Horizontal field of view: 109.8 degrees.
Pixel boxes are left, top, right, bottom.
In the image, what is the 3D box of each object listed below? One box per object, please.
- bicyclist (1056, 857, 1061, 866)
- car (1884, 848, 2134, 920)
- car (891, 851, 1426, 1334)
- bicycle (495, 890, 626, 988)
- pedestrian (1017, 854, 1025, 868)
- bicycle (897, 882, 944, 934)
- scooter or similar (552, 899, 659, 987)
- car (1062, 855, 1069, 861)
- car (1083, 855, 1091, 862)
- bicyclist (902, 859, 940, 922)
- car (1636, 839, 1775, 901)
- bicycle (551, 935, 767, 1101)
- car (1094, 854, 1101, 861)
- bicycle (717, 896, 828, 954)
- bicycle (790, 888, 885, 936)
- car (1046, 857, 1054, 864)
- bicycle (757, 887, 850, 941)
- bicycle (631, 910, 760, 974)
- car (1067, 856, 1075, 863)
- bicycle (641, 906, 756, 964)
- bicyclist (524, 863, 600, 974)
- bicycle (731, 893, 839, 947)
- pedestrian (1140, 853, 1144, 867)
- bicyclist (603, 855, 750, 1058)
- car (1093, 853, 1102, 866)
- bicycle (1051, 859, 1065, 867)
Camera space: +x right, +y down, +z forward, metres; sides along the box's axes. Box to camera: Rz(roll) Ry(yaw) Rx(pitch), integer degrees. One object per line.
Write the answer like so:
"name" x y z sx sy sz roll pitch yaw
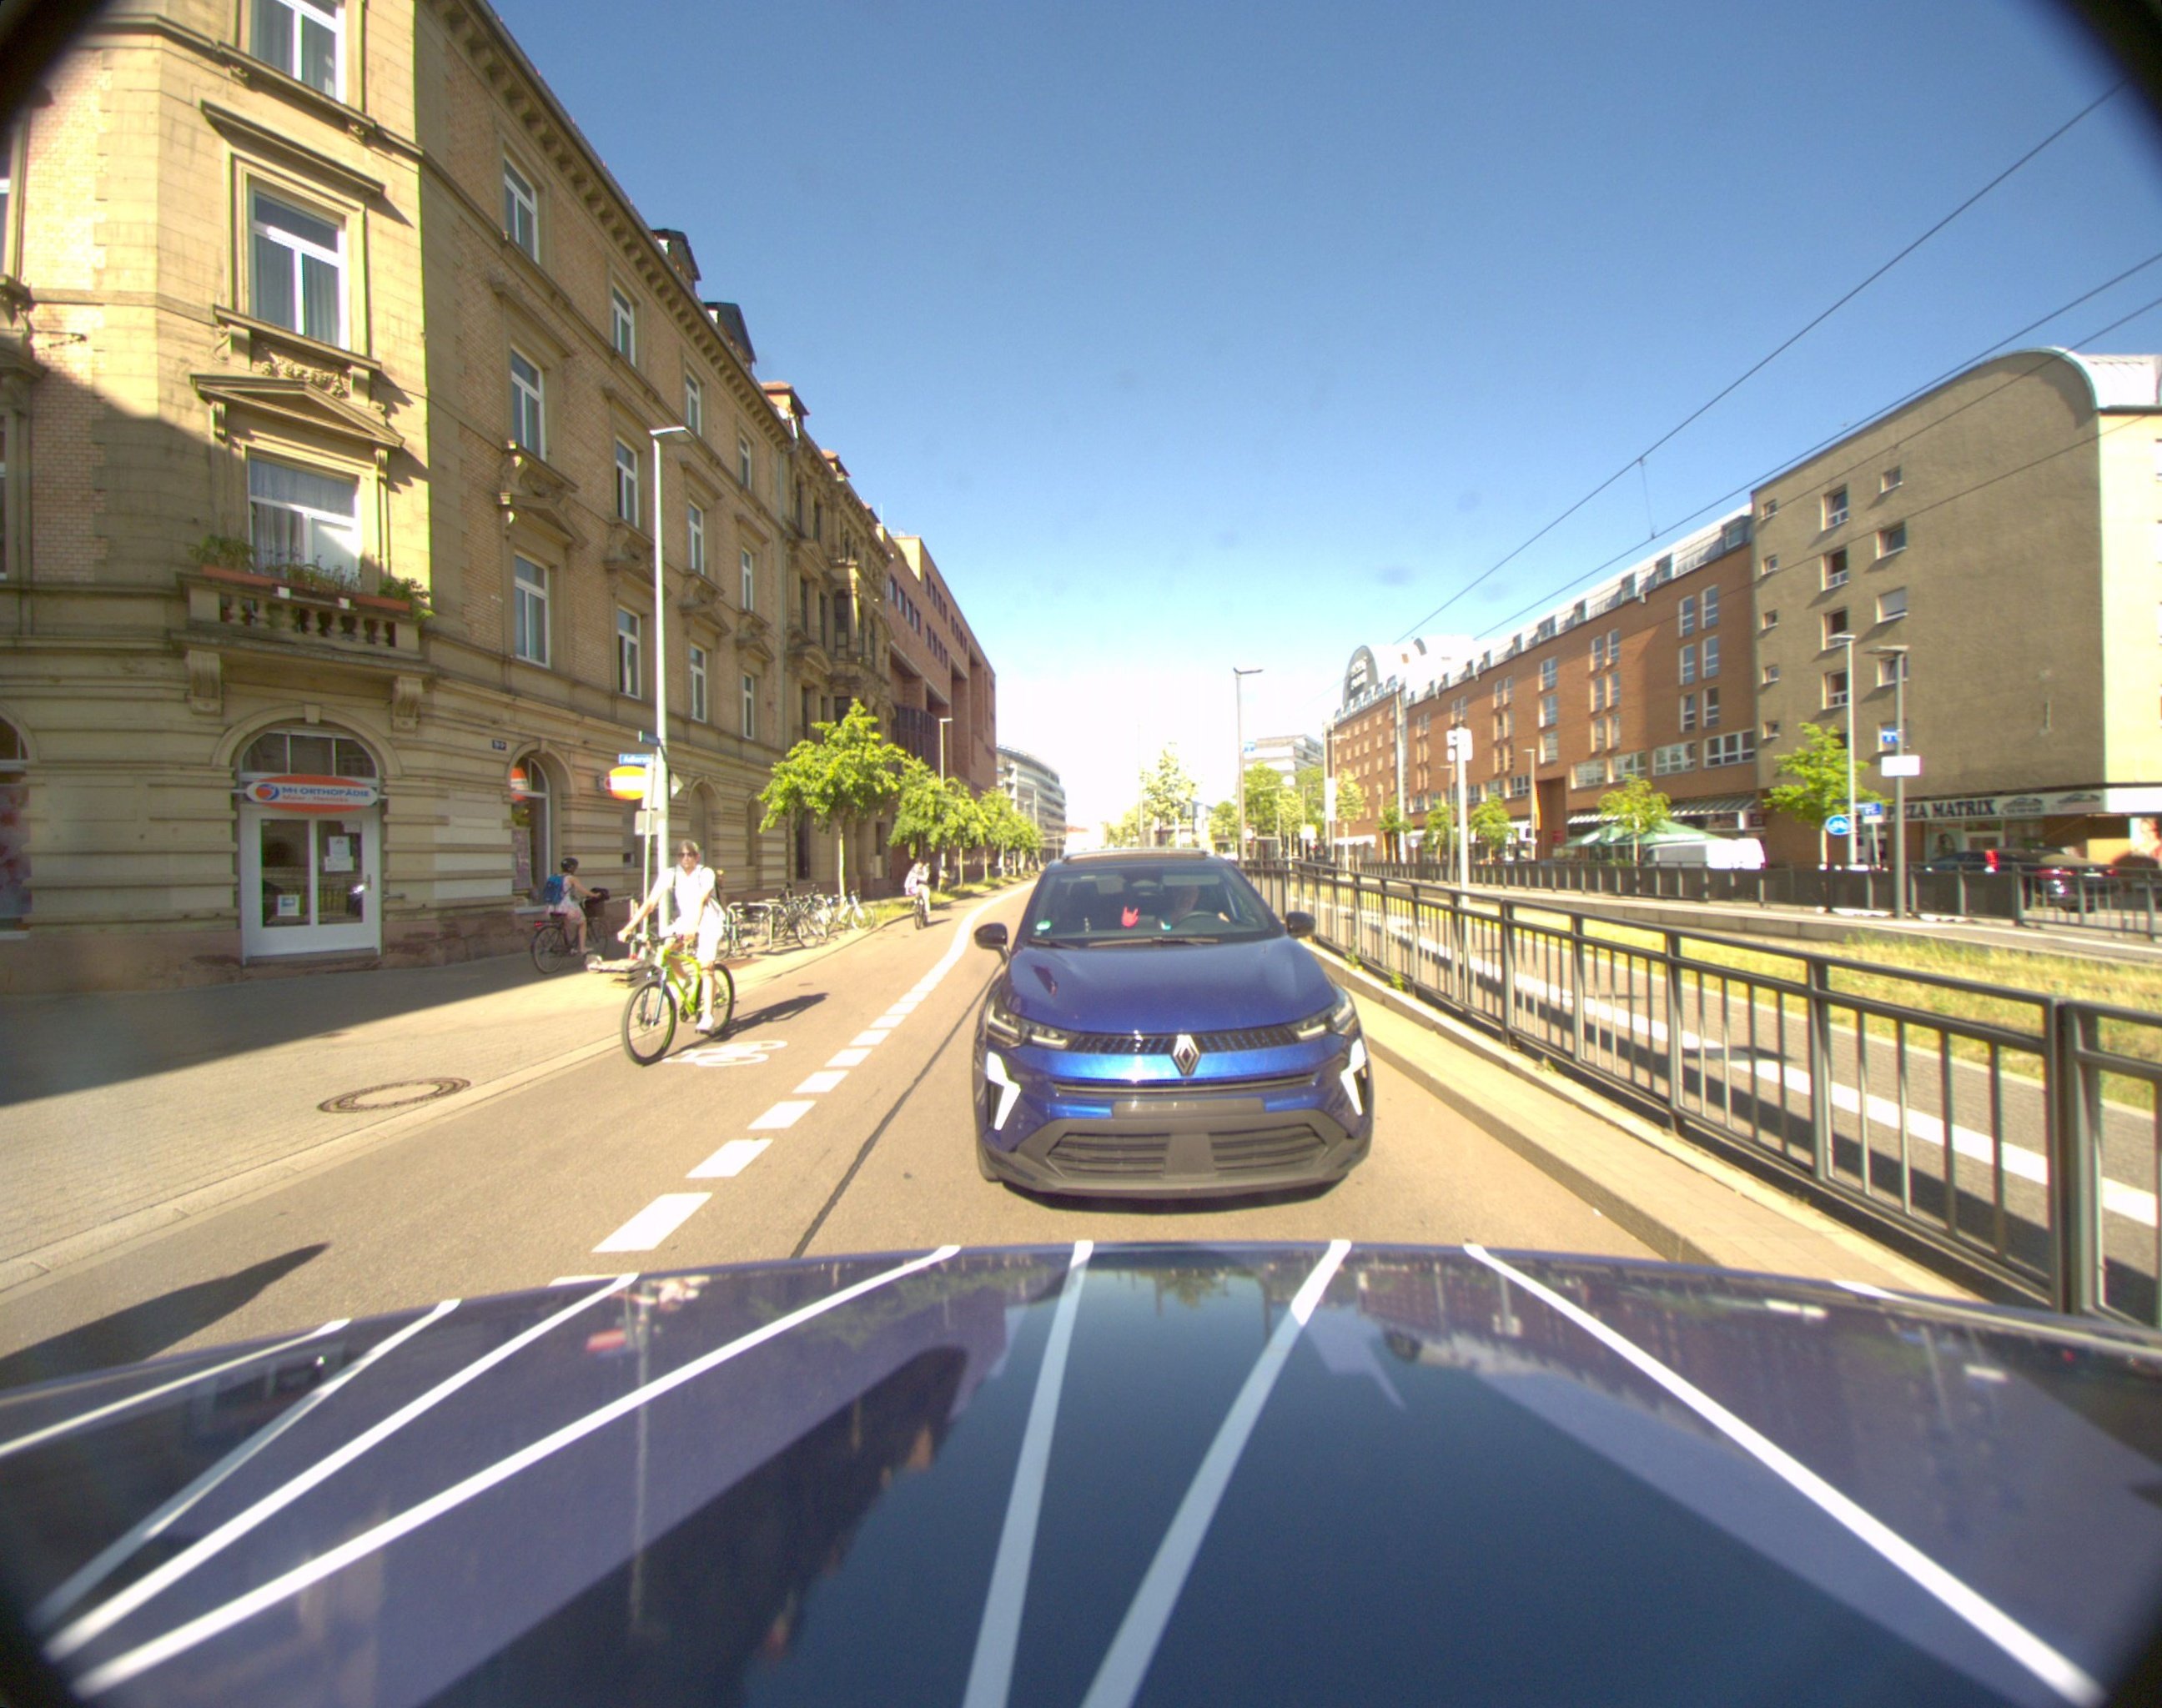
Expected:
"bicyclist" -3.217 1.023 109.373 0.740 1.301 0.637 -1 0 3
"car" 24.207 0.705 20.082 1.699 1.630 3.999 -2 1 -1
"car" 0.300 0.836 4.848 1.758 1.576 4.420 -4 0 1
"bicycle" -7.889 1.239 11.649 0.579 1.246 2.097 -1 1 -2
"pedestrian" -8.498 1.002 107.774 0.880 2.002 0.764 -1 1 22
"bicycle" -4.152 1.370 19.773 0.725 1.187 1.952 -2 0 1
"scooter or similar" -6.857 1.271 10.988 1.199 1.191 0.487 -1 0 -4
"car" -3.860 1.016 189.704 1.745 1.543 4.000 -1 0 1
"car" 1.314 1.075 172.407 1.745 1.543 4.000 -1 0 1
"bicyclist" -4.173 0.936 19.847 0.725 1.595 0.895 -2 0 1
"car" 25.329 0.567 31.108 1.997 2.283 5.192 -2 1 9
"bicycle" -3.526 1.318 6.606 0.725 1.000 1.952 -2 0 1
"car" 4.006 0.815 186.315 1.745 1.543 4.000 -1 0 0
"bicycle" -5.944 1.366 14.715 1.876 1.043 0.608 1 1 -4
"bicycle" -5.989 1.426 18.777 2.062 1.036 0.847 2 1 0
"car" -7.072 1.377 174.291 1.745 1.543 4.000 -1 0 0
"bicycle" -6.318 1.360 17.375 1.678 1.055 1.134 3 1 -1
"bicycle" -6.338 1.432 12.504 1.905 0.906 0.592 1 2 9
"car" -2.221 1.198 173.704 1.745 1.543 4.000 -1 0 1
"bicycle" -6.587 1.395 13.137 1.717 0.920 0.497 -1 1 1
"bicyclist" -7.884 0.958 11.568 0.579 1.608 0.794 -1 1 -2
"bicycle" -6.278 1.386 16.229 1.903 1.024 1.030 1 1 -2
"pedestrian" 8.169 0.849 101.784 0.482 1.878 0.503 -1 1 1
"bicyclist" -3.539 0.842 6.732 0.700 1.647 0.977 -2 0 1
"car" 3.508 1.131 159.197 1.758 2.471 4.610 -1 0 1
"bicycle" -3.318 1.285 109.375 2.044 1.013 0.646 -1 0 4
